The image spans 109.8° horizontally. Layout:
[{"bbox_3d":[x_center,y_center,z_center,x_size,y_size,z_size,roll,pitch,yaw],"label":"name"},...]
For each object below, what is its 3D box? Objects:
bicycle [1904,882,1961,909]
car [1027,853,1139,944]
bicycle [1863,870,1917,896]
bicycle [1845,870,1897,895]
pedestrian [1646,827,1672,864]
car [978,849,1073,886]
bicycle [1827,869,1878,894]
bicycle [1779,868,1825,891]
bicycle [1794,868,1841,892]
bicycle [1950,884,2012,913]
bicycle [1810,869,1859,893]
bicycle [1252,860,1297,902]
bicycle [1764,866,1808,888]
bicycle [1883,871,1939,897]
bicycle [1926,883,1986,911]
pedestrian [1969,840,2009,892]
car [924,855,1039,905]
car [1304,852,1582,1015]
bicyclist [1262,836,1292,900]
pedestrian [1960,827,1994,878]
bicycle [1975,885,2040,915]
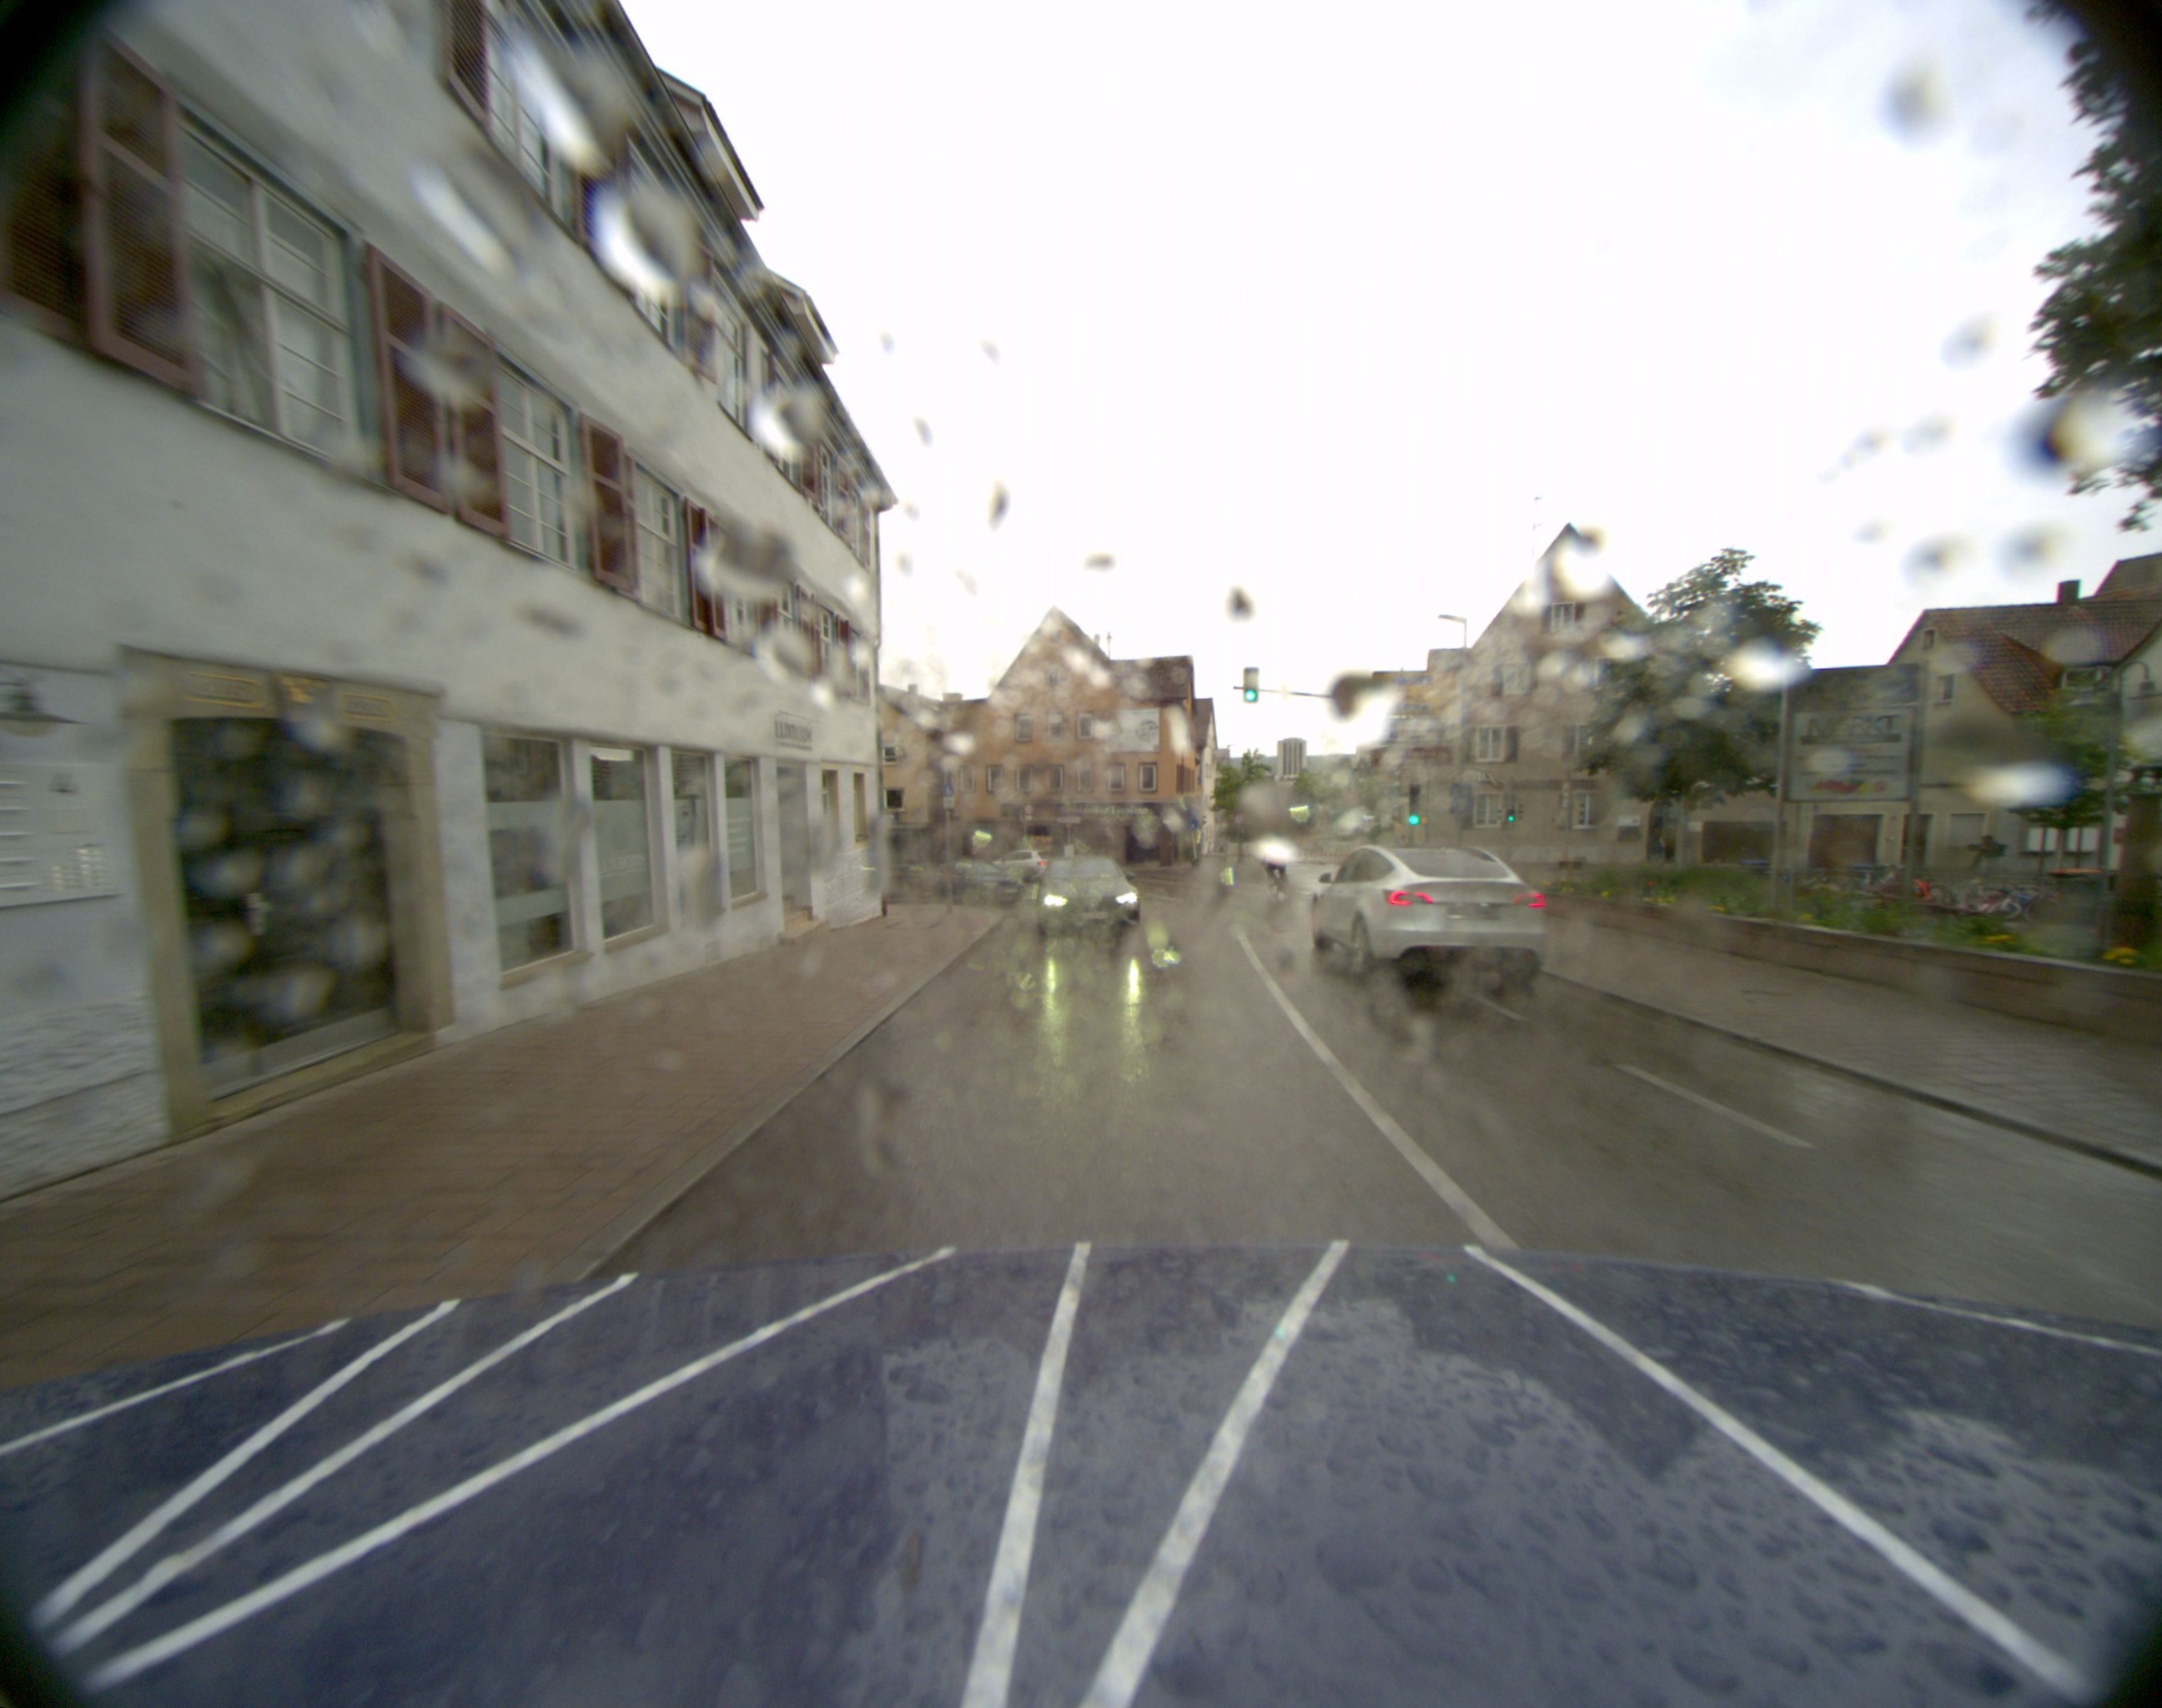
[{"bbox_3d":[19.604,0.959,17.500,0.853,0.602,0.407,0,1,0],"label":"bicycle"},{"bbox_3d":[-0.016,0.793,15.817,1.967,1.549,4.621,-1,1,-1],"label":"car"},{"bbox_3d":[19.586,0.701,18.397,0.853,0.602,0.407,0,1,0],"label":"bicycle"},{"bbox_3d":[19.587,0.703,18.841,0.853,0.602,0.407,0,1,0],"label":"bicycle"},{"bbox_3d":[26.261,-0.385,34.542,0.705,1.701,0.677,0,1,15],"label":"pedestrian"},{"bbox_3d":[-2.633,0.574,35.598,4.370,1.598,1.973,1,1,42],"label":"car"},{"bbox_3d":[19.576,0.699,19.287,0.853,0.602,0.407,0,1,0],"label":"bicycle"},{"bbox_3d":[19.567,0.678,20.631,0.853,0.602,0.407,0,1,0],"label":"bicycle"},{"bbox_3d":[19.573,0.689,20.197,0.853,0.602,0.407,0,1,0],"label":"bicycle"},{"bbox_3d":[19.551,0.972,16.506,0.853,0.602,0.407,0,1,0],"label":"bicycle"},{"bbox_3d":[19.570,0.695,19.747,0.853,0.602,0.407,0,1,0],"label":"bicycle"},{"bbox_3d":[5.946,0.803,23.480,0.665,1.174,2.135,-2,1,-5],"label":"bicycle"},{"bbox_3d":[19.556,0.644,21.084,0.853,0.602,0.407,0,1,0],"label":"bicycle"},{"bbox_3d":[19.593,0.706,17.943,0.853,0.602,0.407,0,1,0],"label":"bicycle"},{"bbox_3d":[19.587,0.965,17.008,0.853,0.602,0.407,0,1,0],"label":"bicycle"},{"bbox_3d":[35.422,0.473,29.645,0.675,2.002,0.707,0,1,13],"label":"pedestrian"},{"bbox_3d":[-3.555,0.855,26.508,1.973,1.598,4.371,0,-1,-38],"label":"car"},{"bbox_3d":[4.310,0.794,9.936,1.966,1.598,4.385,1,1,7],"label":"car"},{"bbox_3d":[5.973,0.420,23.169,0.691,1.923,0.569,-2,1,-5],"label":"bicyclist"},{"bbox_3d":[35.657,-0.074,30.239,0.675,2.002,0.500,0,1,13],"label":"pedestrian"},{"bbox_3d":[19.578,0.975,16.063,0.853,0.602,0.407,0,1,0],"label":"bicycle"}]
